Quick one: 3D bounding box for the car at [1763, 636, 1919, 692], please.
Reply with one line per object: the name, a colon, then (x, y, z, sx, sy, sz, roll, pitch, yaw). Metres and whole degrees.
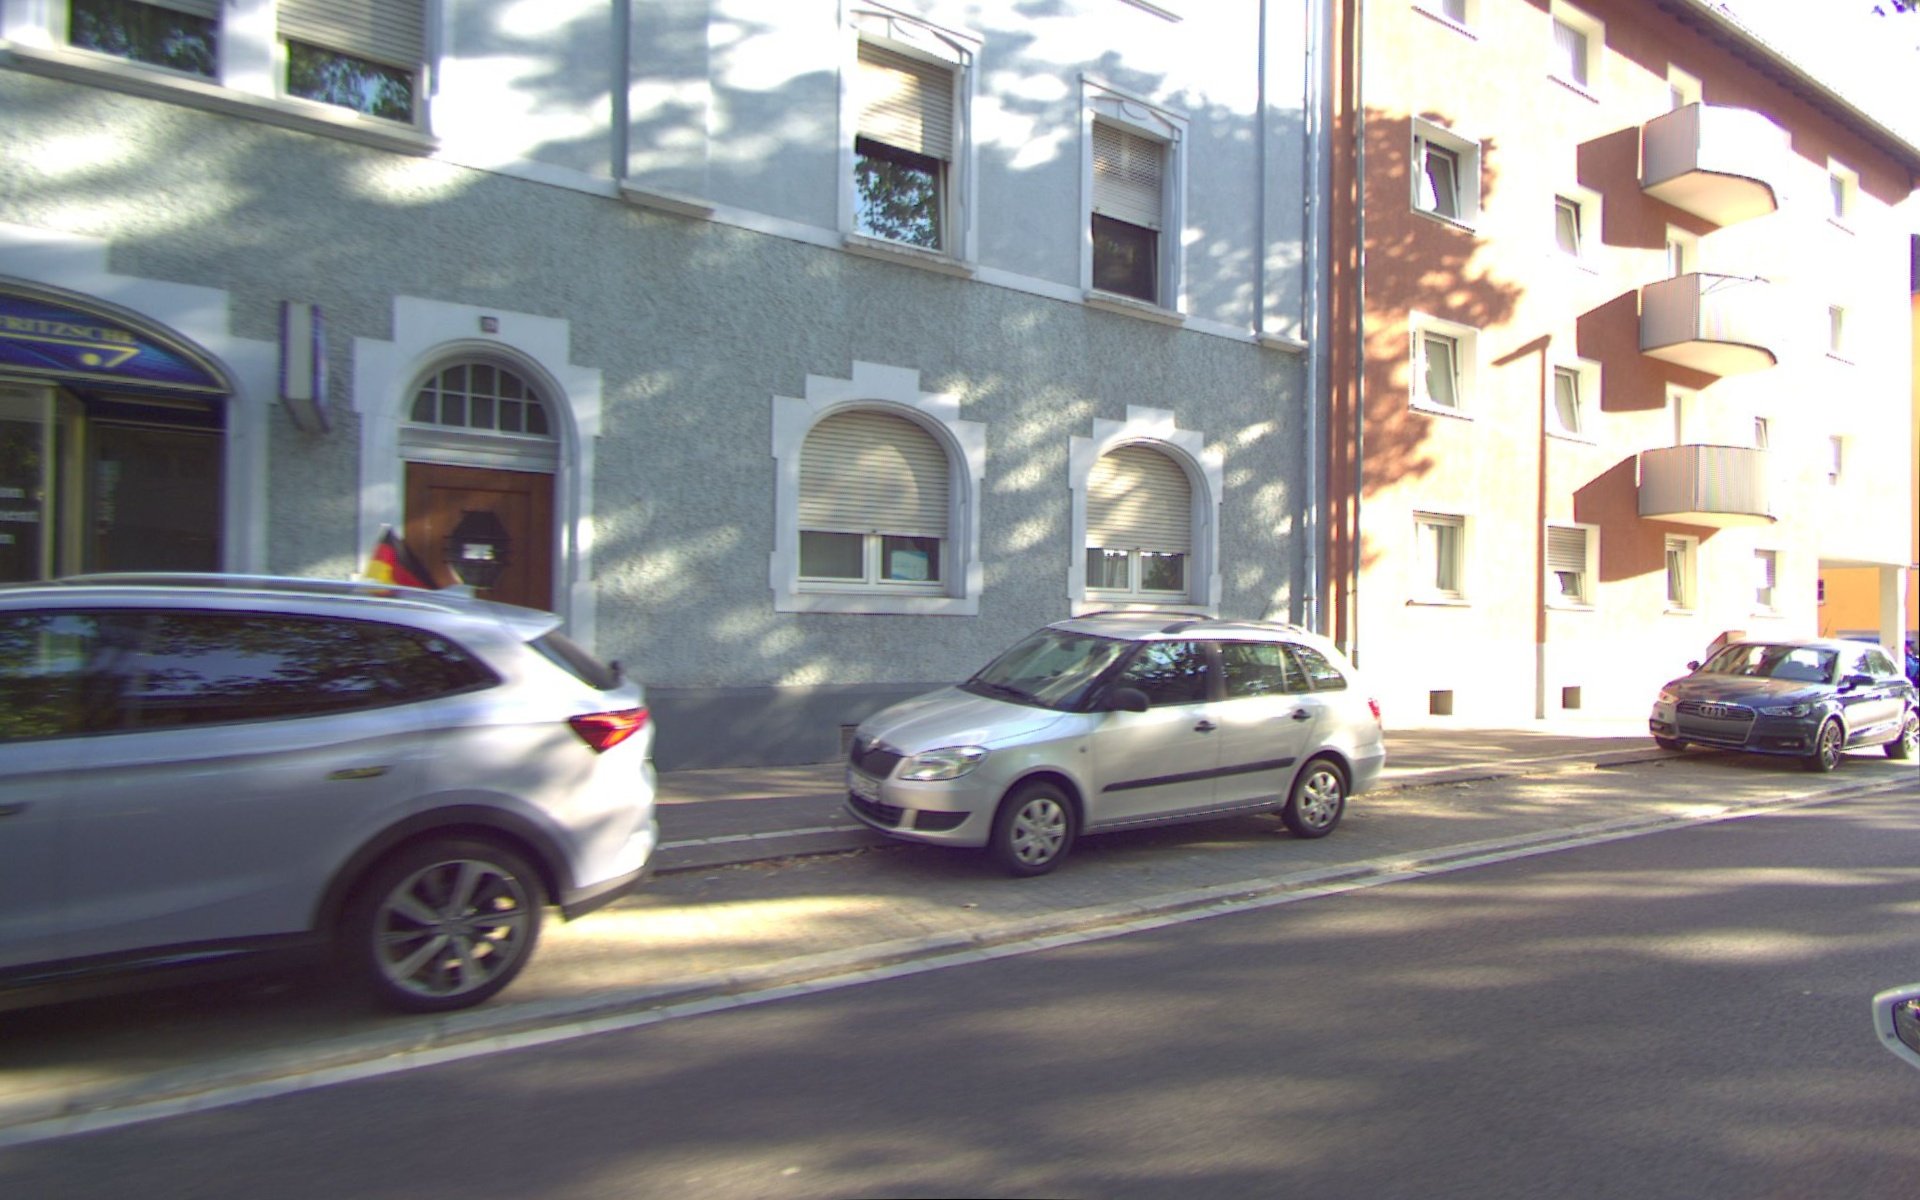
car: (27.817, 1.949, 31.485, 1.728, 1.587, 3.767, 2, -2, -30)

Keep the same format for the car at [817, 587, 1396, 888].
car: (1.125, 0.795, 7.257, 3.937, 1.663, 1.670, 1, 0, -30)

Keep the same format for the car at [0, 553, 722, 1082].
car: (-3.452, 0.673, 3.996, 4.522, 1.663, 1.899, 1, 0, -30)

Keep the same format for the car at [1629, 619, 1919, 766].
car: (10.040, 1.039, 12.279, 3.558, 1.506, 1.670, 1, 0, -30)
